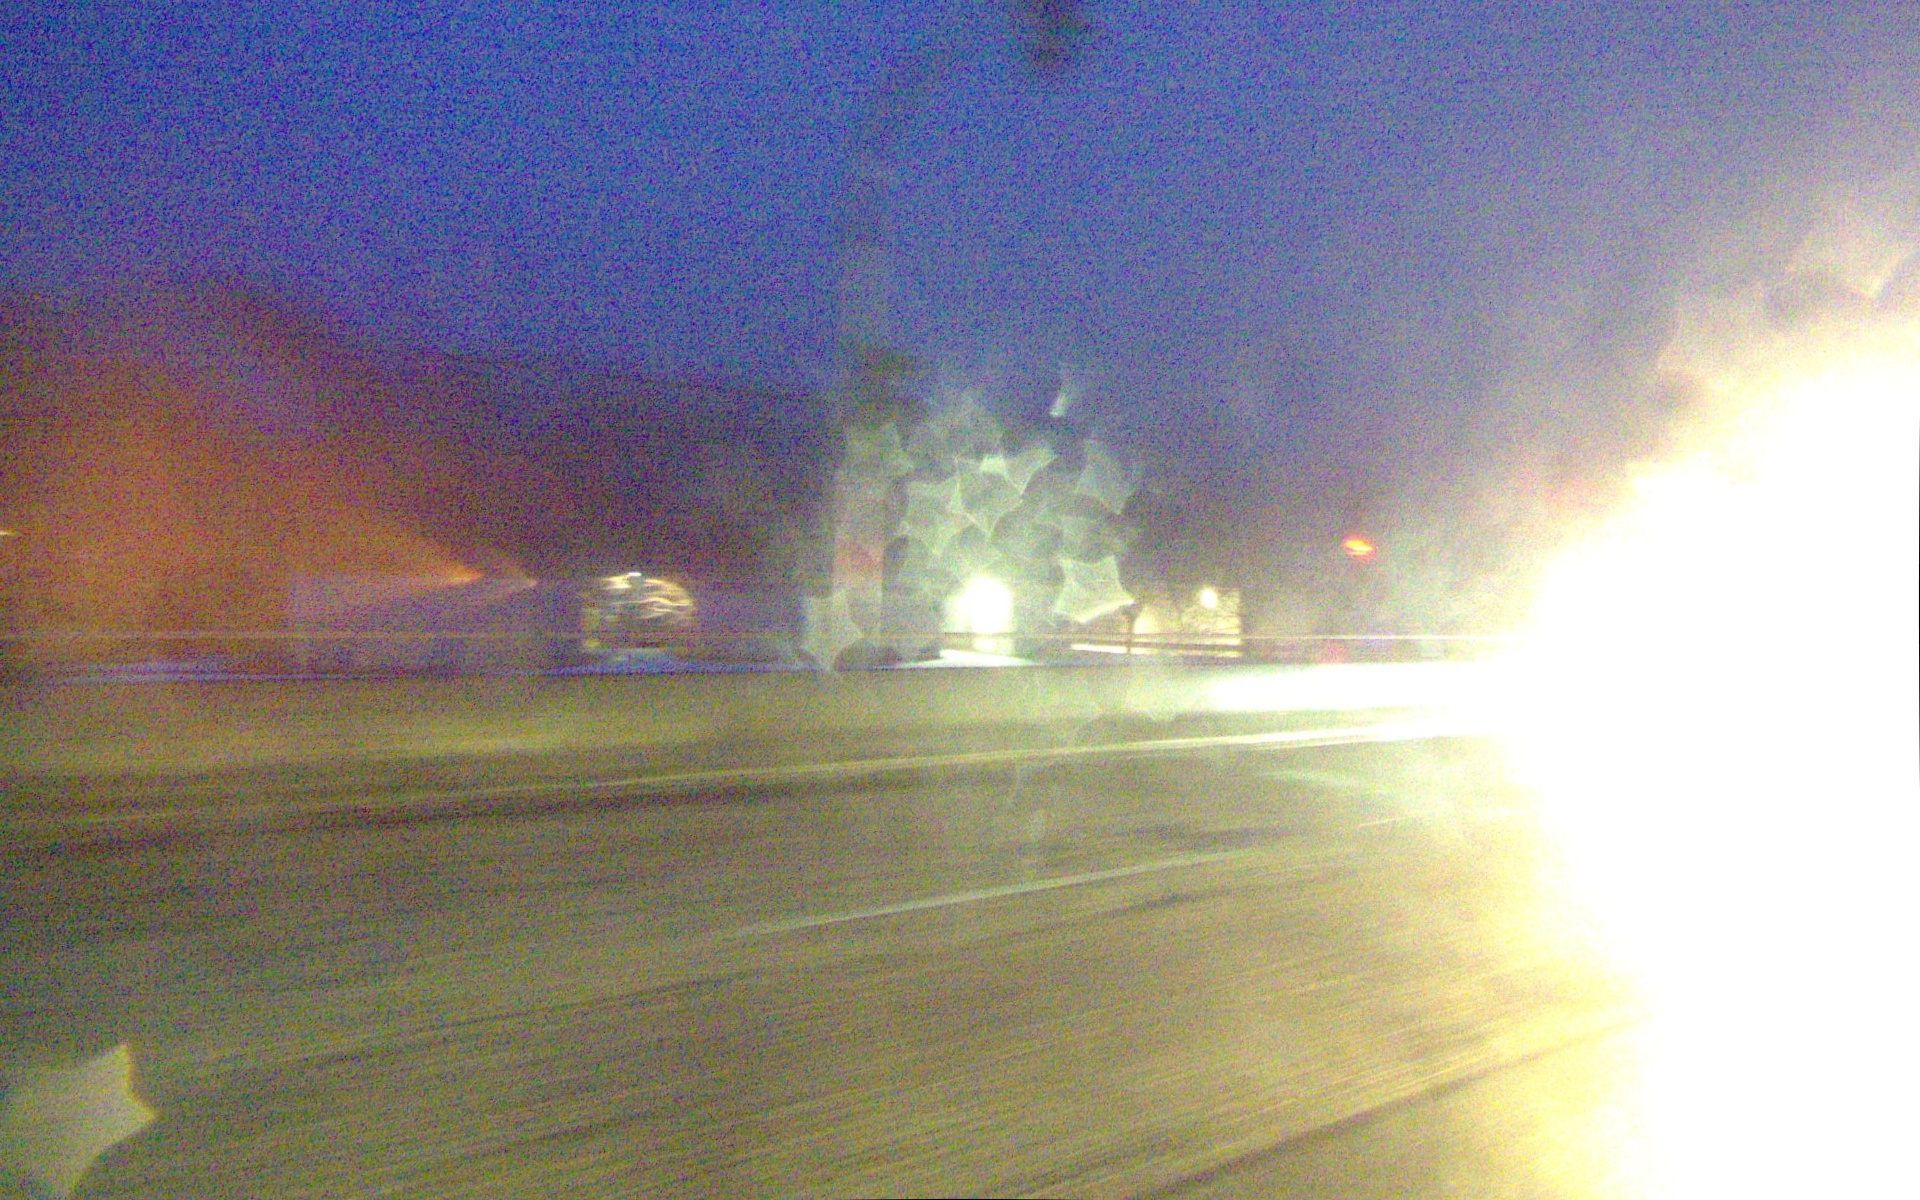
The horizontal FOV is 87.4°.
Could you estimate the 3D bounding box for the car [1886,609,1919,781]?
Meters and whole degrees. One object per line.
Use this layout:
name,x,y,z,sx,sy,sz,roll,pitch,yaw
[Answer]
car,10.187,0.868,9.227,3.595,1.492,1.659,1,0,-34
